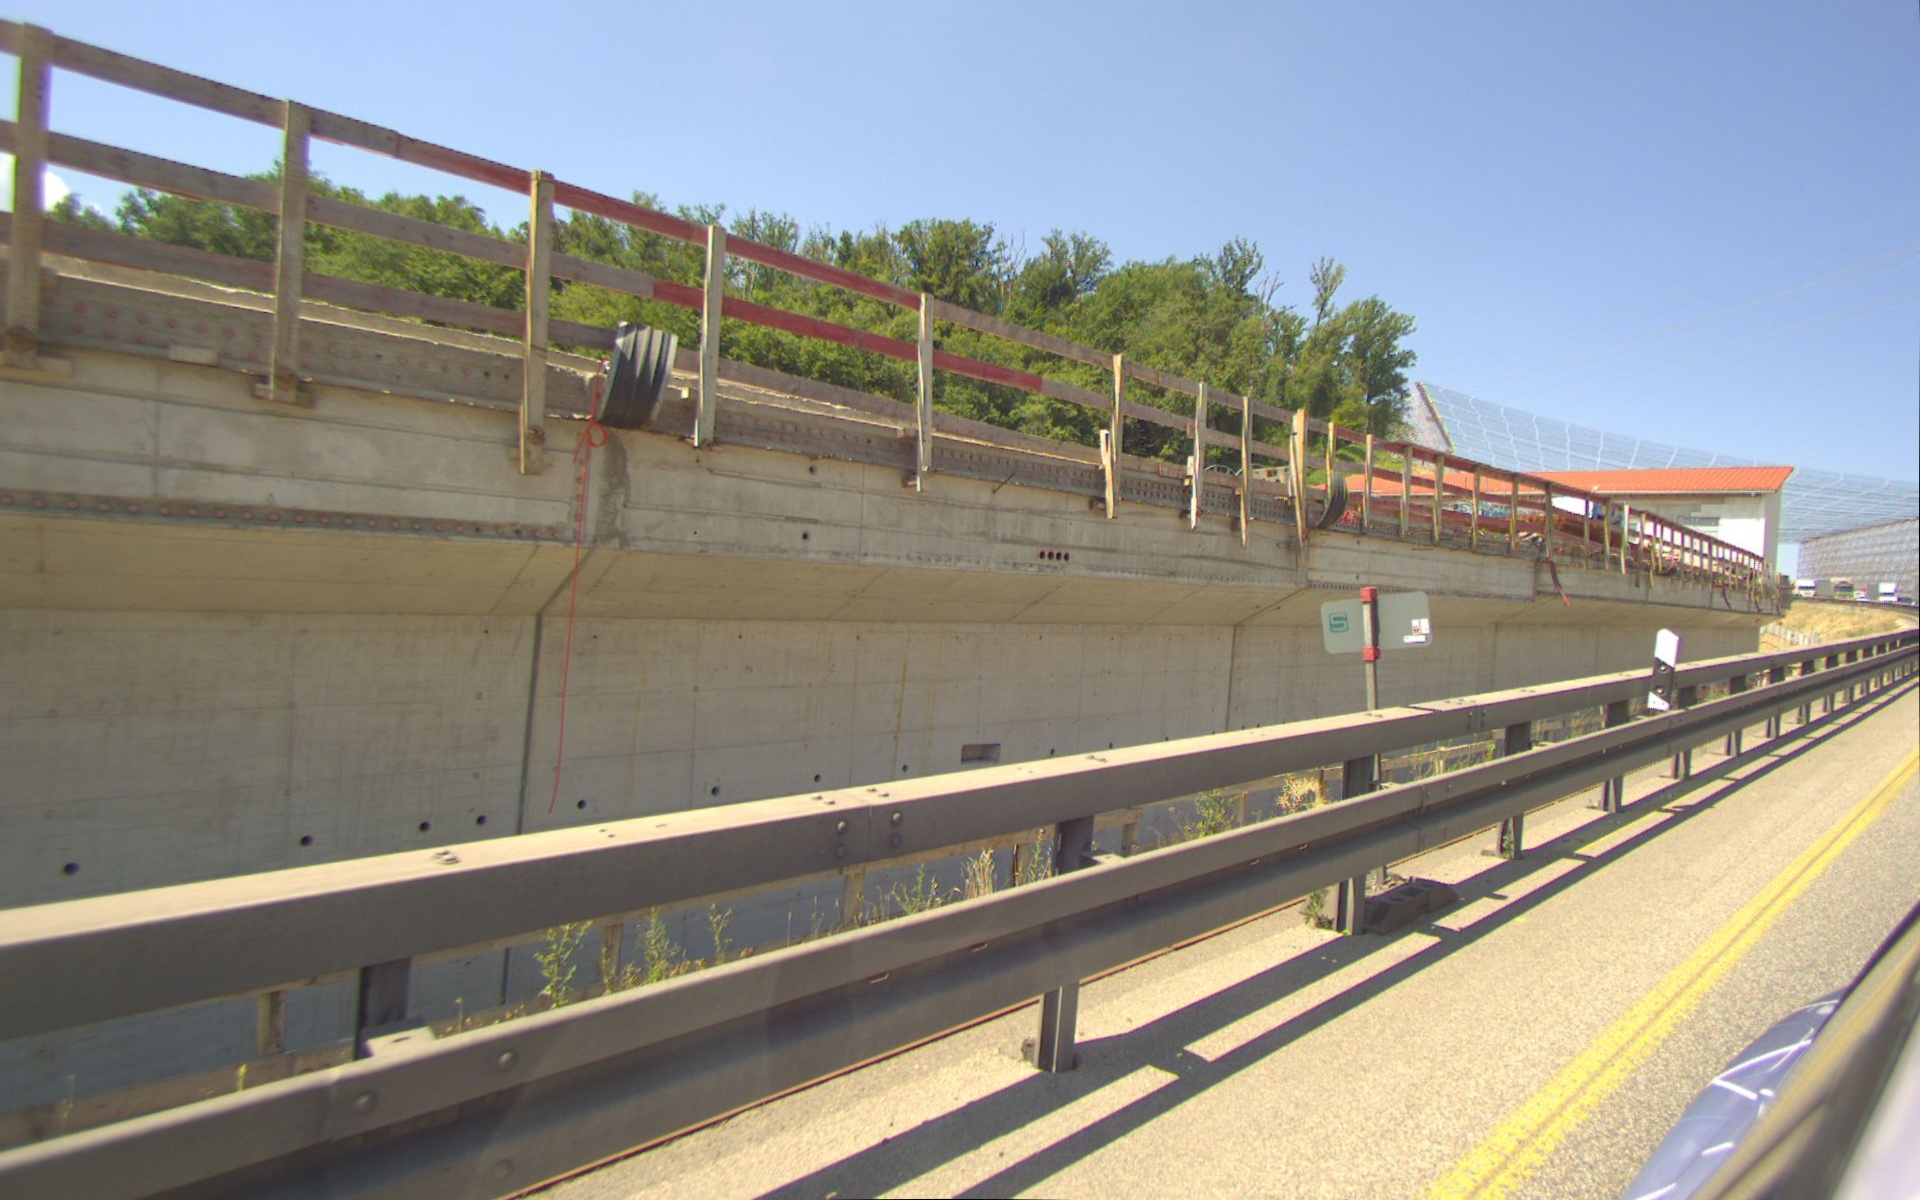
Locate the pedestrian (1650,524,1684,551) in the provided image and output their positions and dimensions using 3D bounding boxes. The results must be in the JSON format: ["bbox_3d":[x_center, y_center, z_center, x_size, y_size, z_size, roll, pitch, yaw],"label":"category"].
[{"bbox_3d":[31.810,-2.814,45.535,0.976,1.165,1.022,-1,1,-38],"label":"pedestrian"}]

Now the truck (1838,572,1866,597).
[{"bbox_3d":[152.738,-2.712,173.299,3.027,4.107,8.557,1,1,38],"label":"truck"}]

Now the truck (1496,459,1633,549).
[{"bbox_3d":[29.350,-4.573,49.157,5.590,3.741,2.725,3,0,-21],"label":"truck"}]

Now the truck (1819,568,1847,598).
[{"bbox_3d":[144.397,-2.890,167.406,3.028,4.865,8.819,0,1,38],"label":"truck"}]

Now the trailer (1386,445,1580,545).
[{"bbox_3d":[24.455,-4.779,47.274,8.806,3.741,2.725,3,0,-21],"label":"trailer"}]
